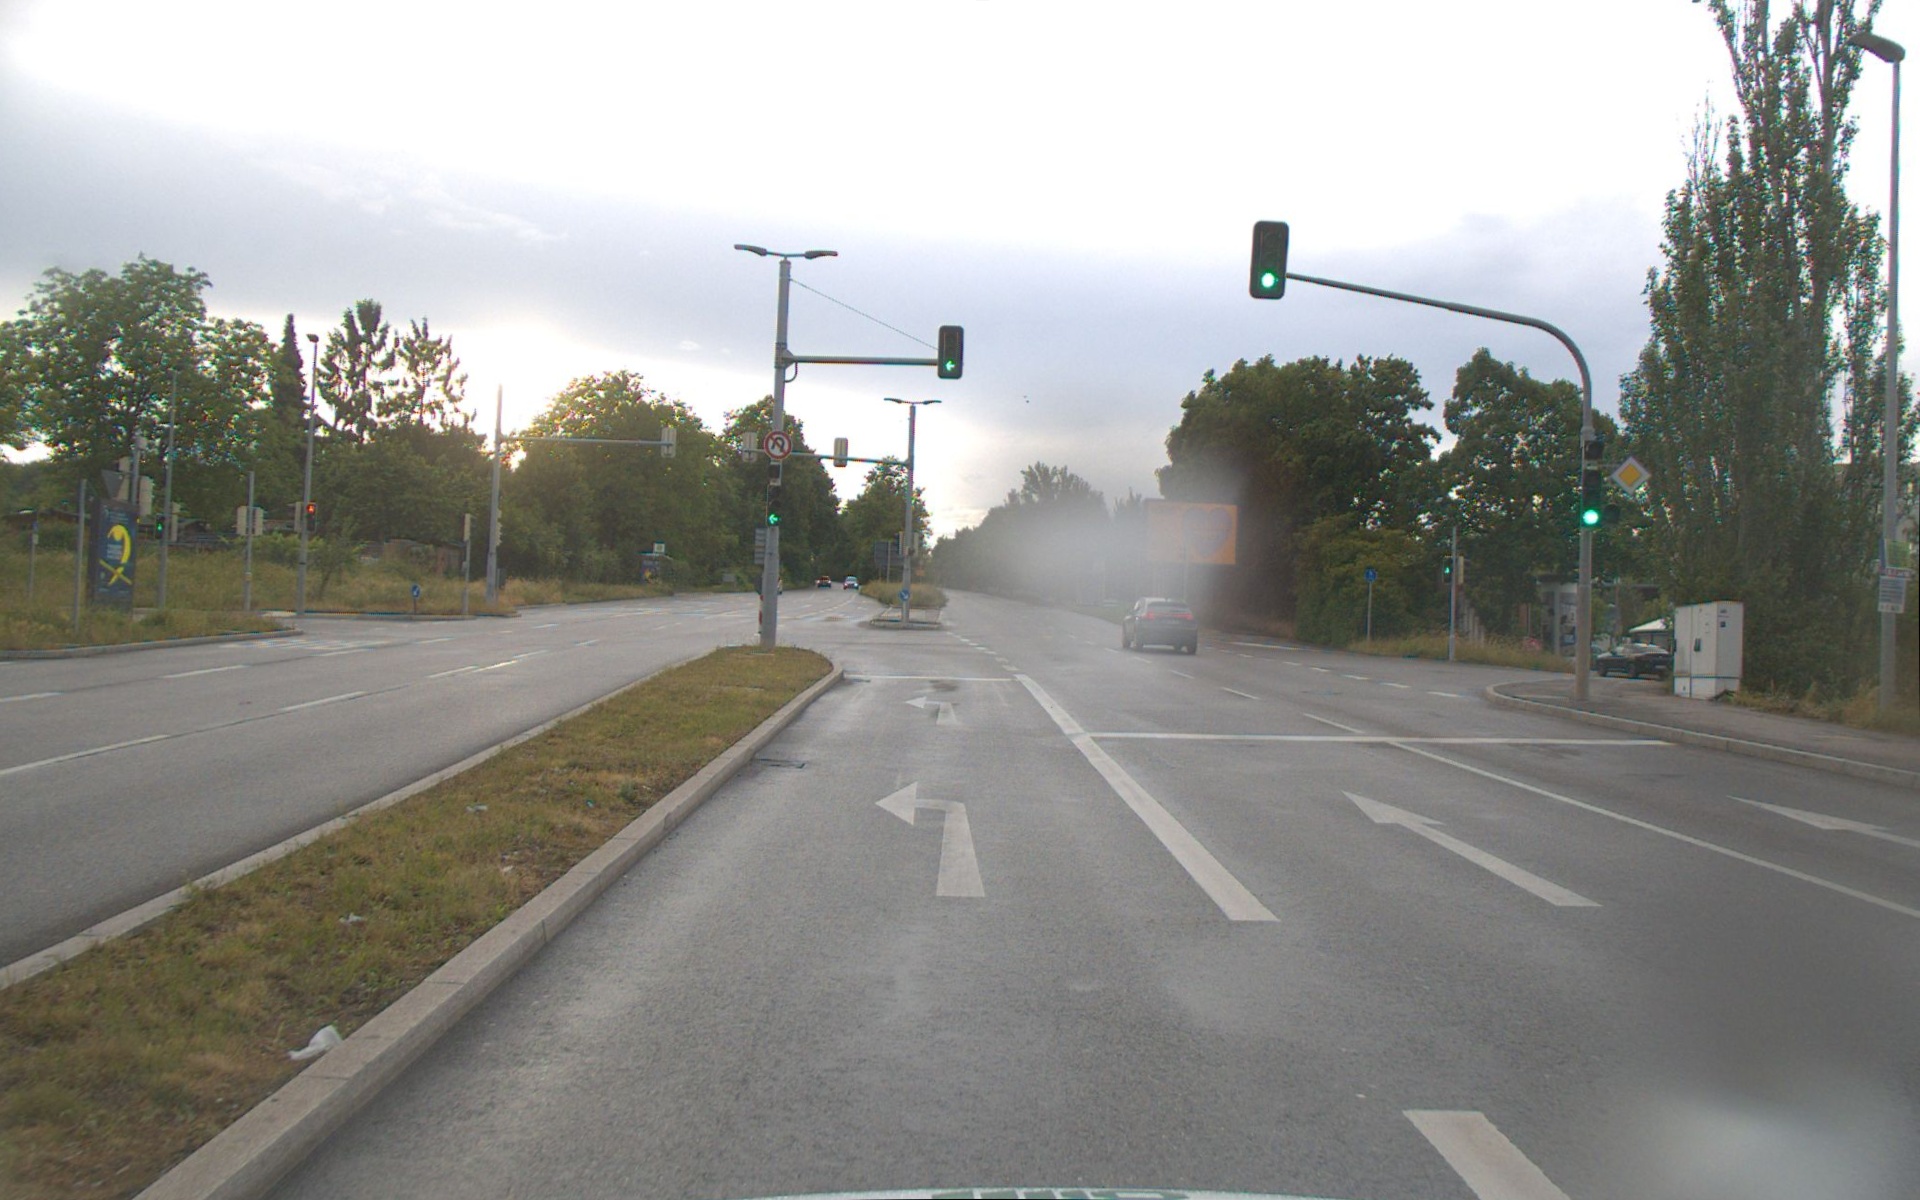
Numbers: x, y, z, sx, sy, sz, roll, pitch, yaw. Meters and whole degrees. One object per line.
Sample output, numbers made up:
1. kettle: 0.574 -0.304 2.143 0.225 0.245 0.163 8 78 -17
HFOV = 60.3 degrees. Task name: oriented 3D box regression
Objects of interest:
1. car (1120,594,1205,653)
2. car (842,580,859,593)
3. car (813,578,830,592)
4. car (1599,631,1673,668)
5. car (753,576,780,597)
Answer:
1. car: 5.615 0.621 46.297 1.709 1.495 4.165 3 0 -2
2. car: -13.136 -1.626 198.583 1.855 1.561 4.487 3 0 -2
3. car: -17.933 -1.932 214.576 1.855 1.623 4.487 3 0 -2
4. car: 32.759 2.380 80.223 1.741 1.614 4.140 4 -1 -1
5. car: -15.692 -1.079 134.324 1.733 1.623 4.487 3 0 -2
